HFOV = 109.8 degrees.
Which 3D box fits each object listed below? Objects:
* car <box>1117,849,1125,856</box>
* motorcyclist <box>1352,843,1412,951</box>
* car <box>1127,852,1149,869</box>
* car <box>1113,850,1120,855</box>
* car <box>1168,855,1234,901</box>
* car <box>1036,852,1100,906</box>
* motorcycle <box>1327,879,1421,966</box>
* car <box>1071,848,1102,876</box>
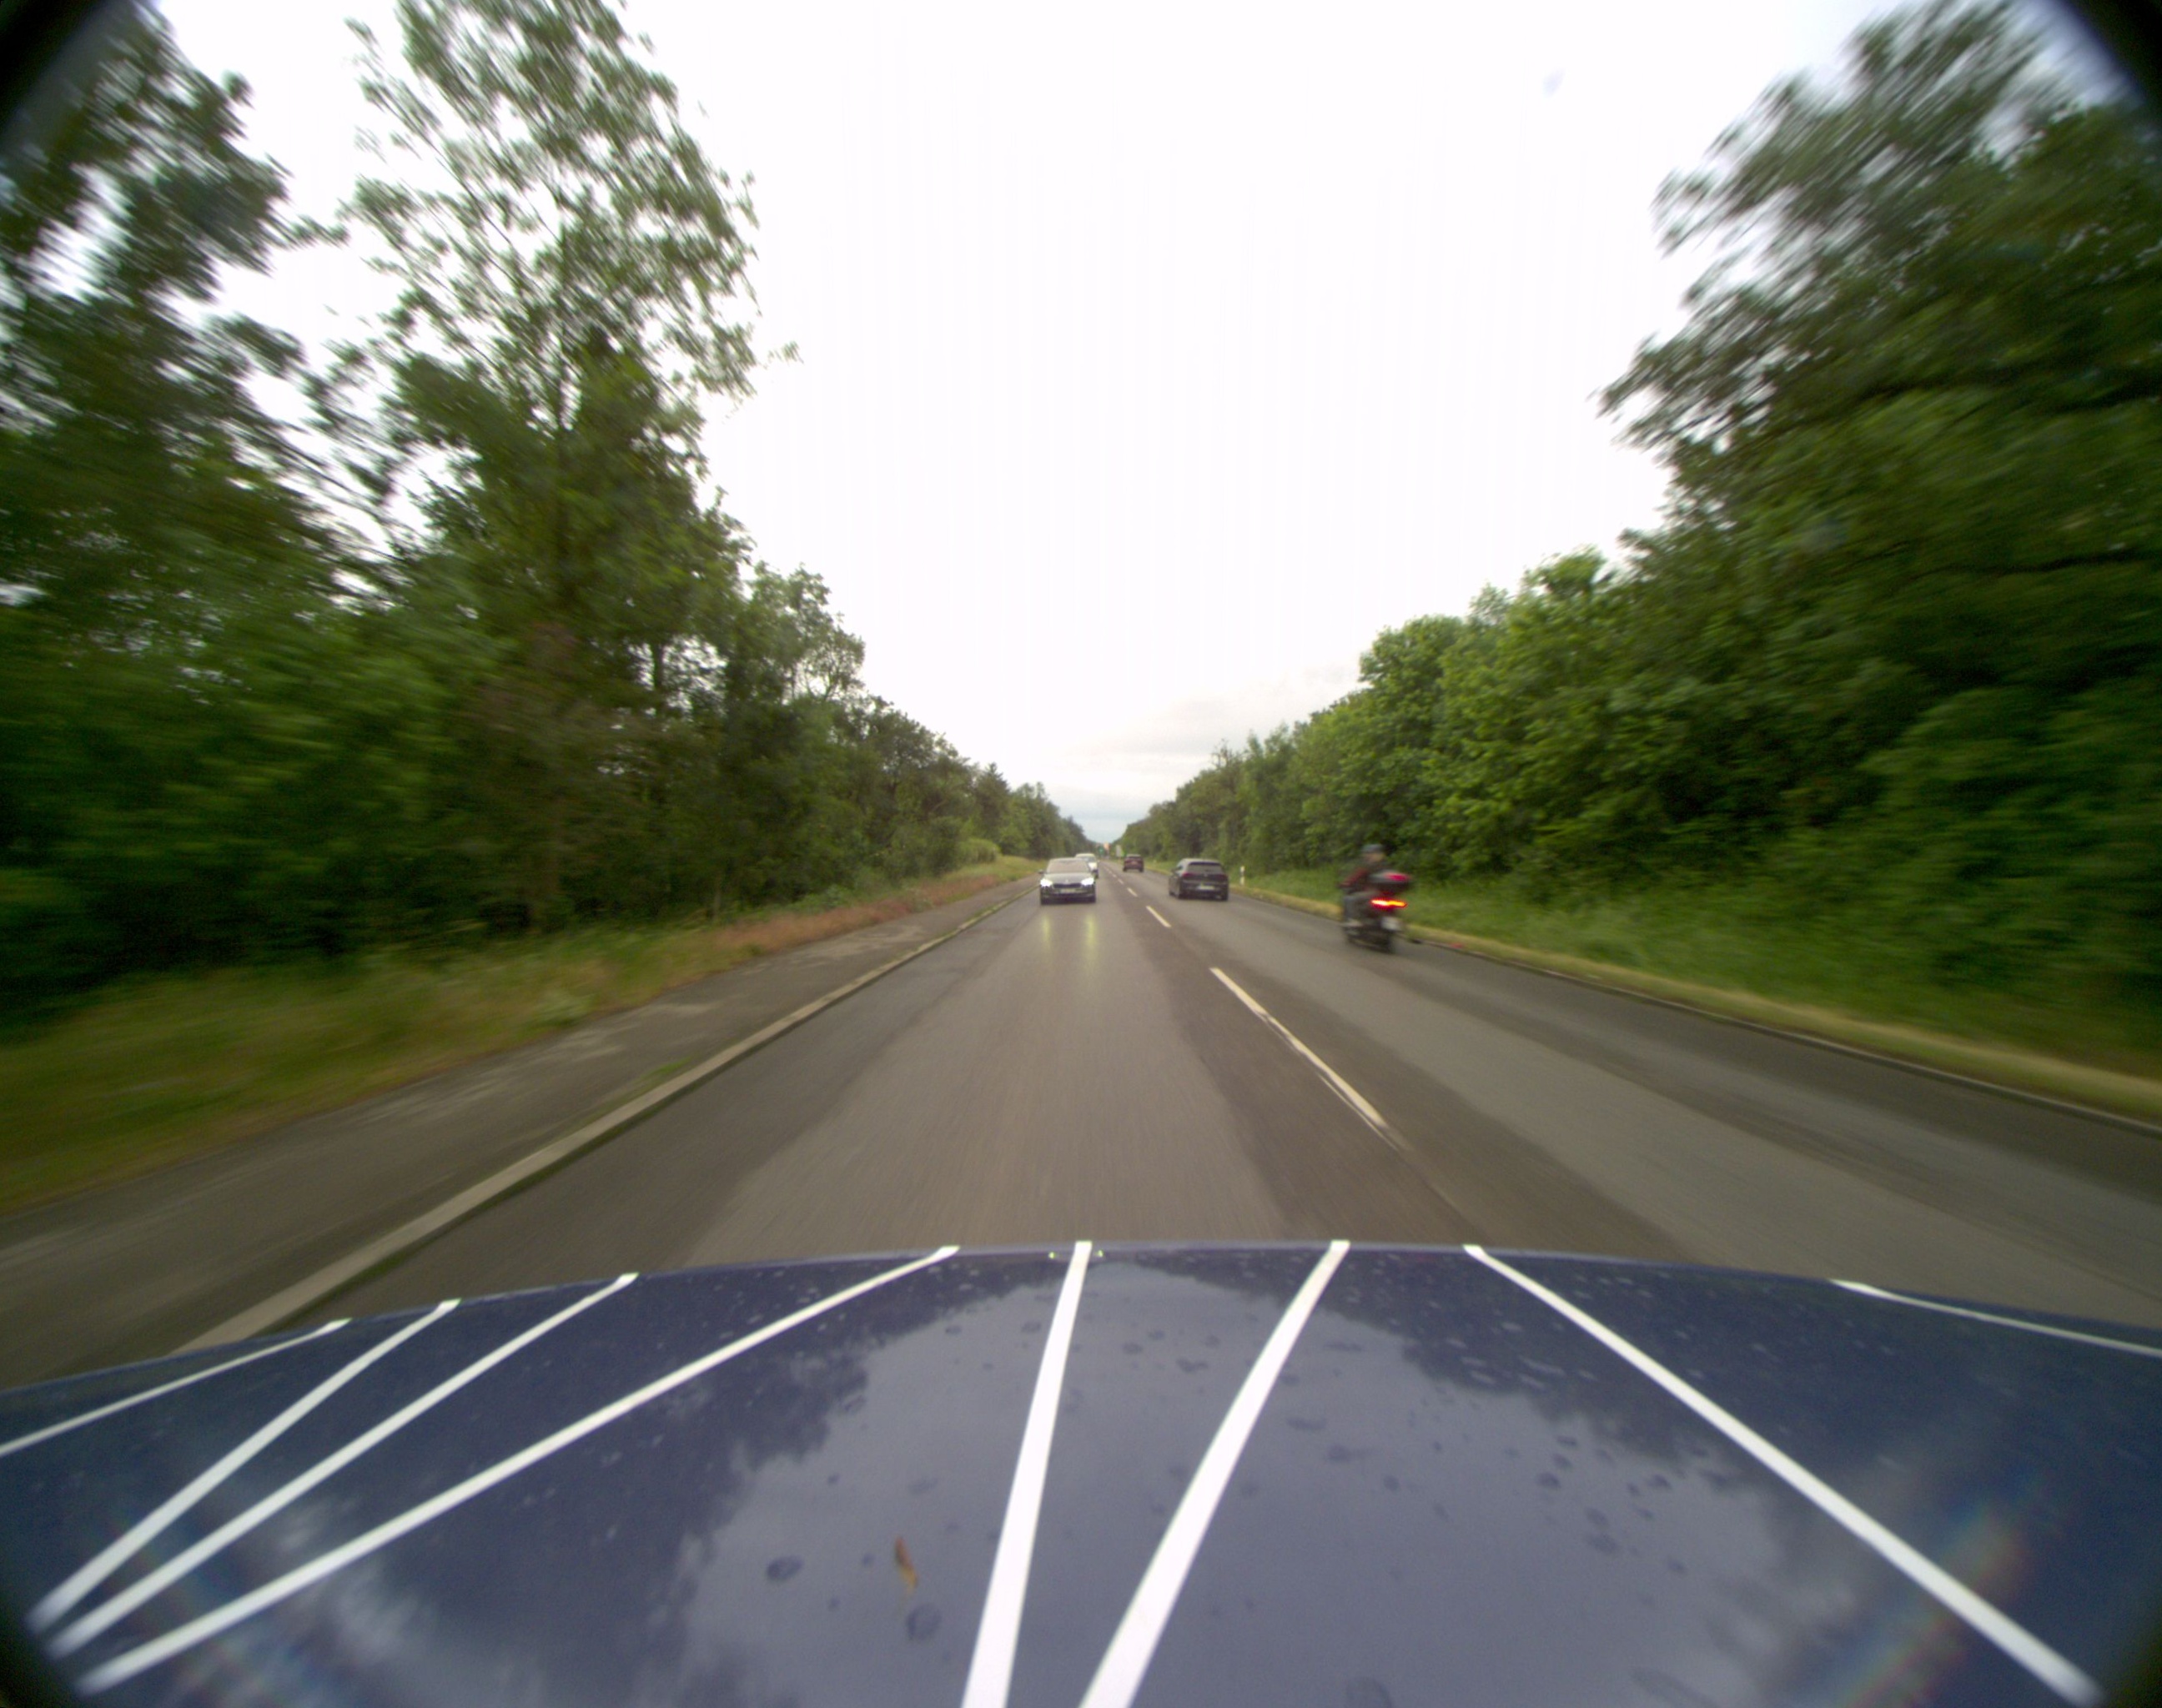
[{"bbox_3d":[9.427,-0.326,180.367,1.793,1.465,3.623,1,1,1],"label":"car"},{"bbox_3d":[4.723,0.652,11.959,0.697,1.644,0.667,-1,1,1],"label":"motorcyclist"},{"bbox_3d":[5.246,0.604,70.856,1.793,1.465,3.623,1,1,1],"label":"car"},{"bbox_3d":[10.574,-0.459,225.138,1.793,1.465,3.623,1,1,1],"label":"car"},{"bbox_3d":[4.219,0.803,27.224,1.793,1.465,3.623,1,1,1],"label":"car"},{"bbox_3d":[-0.370,0.769,25.543,1.915,1.543,4.354,-2,1,1],"label":"car"},{"bbox_3d":[4.659,1.041,12.254,0.667,1.191,2.101,1,0,0],"label":"motorcycle"},{"bbox_3d":[0.390,0.498,50.450,1.915,1.691,3.913,-2,1,1],"label":"car"}]
